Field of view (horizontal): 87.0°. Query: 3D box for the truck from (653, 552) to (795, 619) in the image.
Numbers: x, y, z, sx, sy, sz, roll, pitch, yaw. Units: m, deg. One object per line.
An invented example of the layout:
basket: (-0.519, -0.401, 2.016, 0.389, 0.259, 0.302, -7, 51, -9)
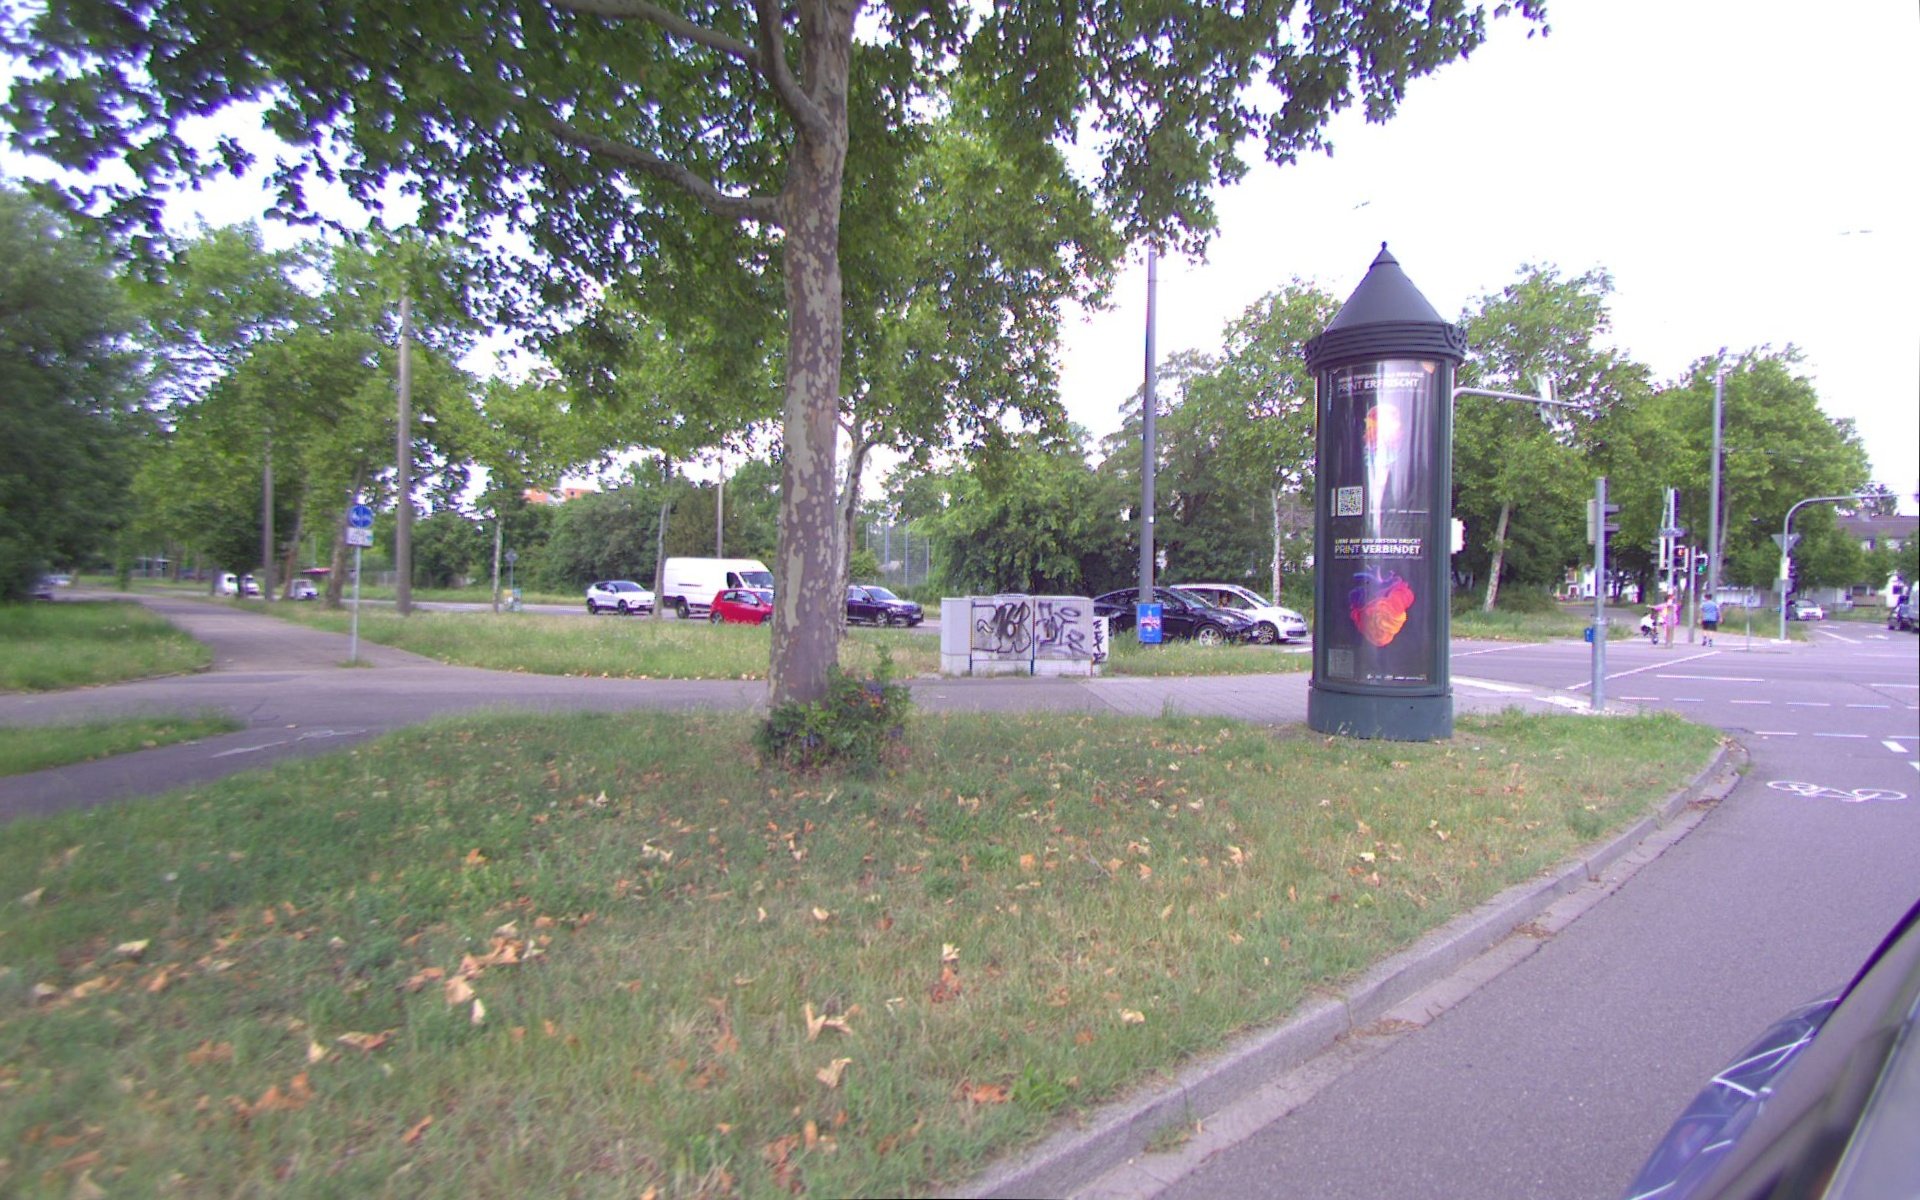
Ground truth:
truck: (-9.998, -0.647, 42.528, 6.471, 2.628, 2.187, 1, 1, 37)

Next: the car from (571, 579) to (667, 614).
car: (-16.099, -0.191, 47.742, 4.658, 1.532, 1.975, 1, 2, 36)

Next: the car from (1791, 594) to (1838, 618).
car: (62.873, 0.431, 74.519, 1.852, 1.665, 4.191, 0, 0, 29)

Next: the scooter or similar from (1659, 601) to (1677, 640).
scooter or similar: (22.052, 0.623, 31.534, 0.392, 1.175, 1.104, 1, 1, 32)

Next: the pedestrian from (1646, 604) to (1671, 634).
pedestrian: (25.024, 0.664, 36.266, 0.718, 1.047, 0.890, 1, 1, 36)

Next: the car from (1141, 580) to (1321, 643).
car: (7.769, 0.265, 29.238, 4.658, 1.630, 1.975, 1, 2, 36)

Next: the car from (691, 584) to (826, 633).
car: (-6.991, 0.248, 34.889, 4.658, 1.532, 1.975, 1, 2, 36)

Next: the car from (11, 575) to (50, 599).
car: (-56.290, -0.816, 61.266, 1.652, 1.408, 3.297, 0, 1, -45)

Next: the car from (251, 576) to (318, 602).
car: (-43.243, -0.733, 64.737, 4.654, 1.532, 1.976, 1, 2, 34)

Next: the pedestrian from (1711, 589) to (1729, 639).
pedestrian: (23.186, 0.424, 30.883, 0.416, 1.527, 0.446, 1, 0, 34)

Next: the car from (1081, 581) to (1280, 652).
car: (5.645, 0.351, 26.201, 4.659, 1.630, 1.974, 1, 2, 36)

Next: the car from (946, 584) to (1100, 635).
car: (2.008, 0.249, 33.008, 4.720, 1.487, 1.975, 1, 2, 36)

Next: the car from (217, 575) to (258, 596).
car: (-61.596, -1.260, 86.257, 3.984, 1.727, 1.970, 1, 1, 41)

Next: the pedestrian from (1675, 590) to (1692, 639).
pedestrian: (22.620, 0.443, 31.639, 0.416, 1.527, 0.388, 1, 0, 35)

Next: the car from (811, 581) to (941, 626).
car: (-3.122, 0.078, 37.182, 4.658, 1.532, 1.975, 1, 2, 36)
